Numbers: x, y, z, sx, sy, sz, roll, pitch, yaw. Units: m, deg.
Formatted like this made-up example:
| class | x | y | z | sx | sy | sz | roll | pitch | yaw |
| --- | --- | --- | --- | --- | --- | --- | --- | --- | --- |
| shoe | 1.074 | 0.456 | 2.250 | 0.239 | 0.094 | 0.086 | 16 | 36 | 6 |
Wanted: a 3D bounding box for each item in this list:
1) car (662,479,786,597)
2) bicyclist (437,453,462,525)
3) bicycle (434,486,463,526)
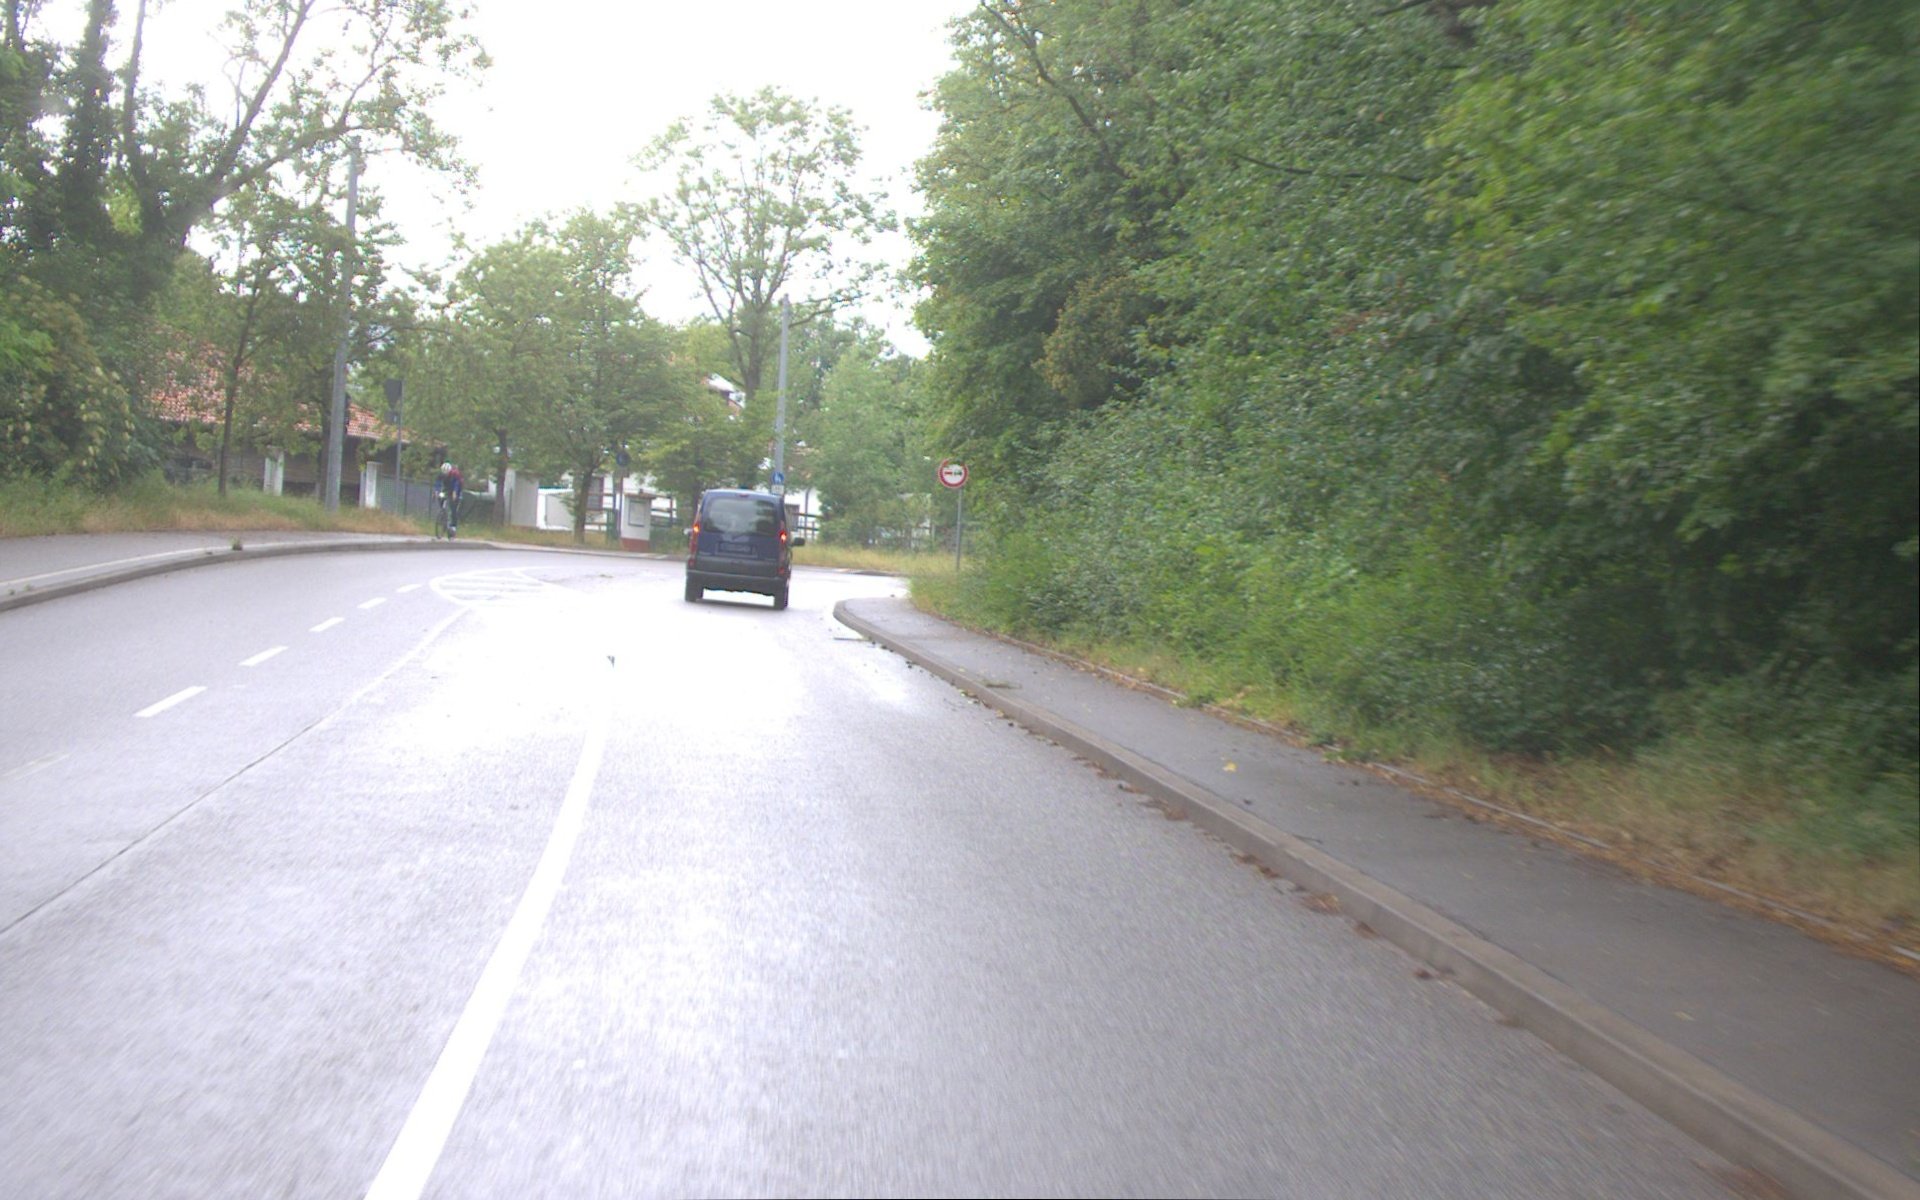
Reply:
| class | x | y | z | sx | sy | sz | roll | pitch | yaw |
| --- | --- | --- | --- | --- | --- | --- | --- | --- | --- |
| car | -3.862 | -0.970 | 55.744 | 1.827 | 1.788 | 4.001 | 0 | -1 | -6 |
| bicyclist | -11.403 | -2.478 | 76.770 | 0.336 | 1.569 | 1.298 | 2 | 1 | -2 |
| bicycle | -11.422 | -2.106 | 76.821 | 0.355 | 0.846 | 2.093 | 3 | 2 | -2 |
